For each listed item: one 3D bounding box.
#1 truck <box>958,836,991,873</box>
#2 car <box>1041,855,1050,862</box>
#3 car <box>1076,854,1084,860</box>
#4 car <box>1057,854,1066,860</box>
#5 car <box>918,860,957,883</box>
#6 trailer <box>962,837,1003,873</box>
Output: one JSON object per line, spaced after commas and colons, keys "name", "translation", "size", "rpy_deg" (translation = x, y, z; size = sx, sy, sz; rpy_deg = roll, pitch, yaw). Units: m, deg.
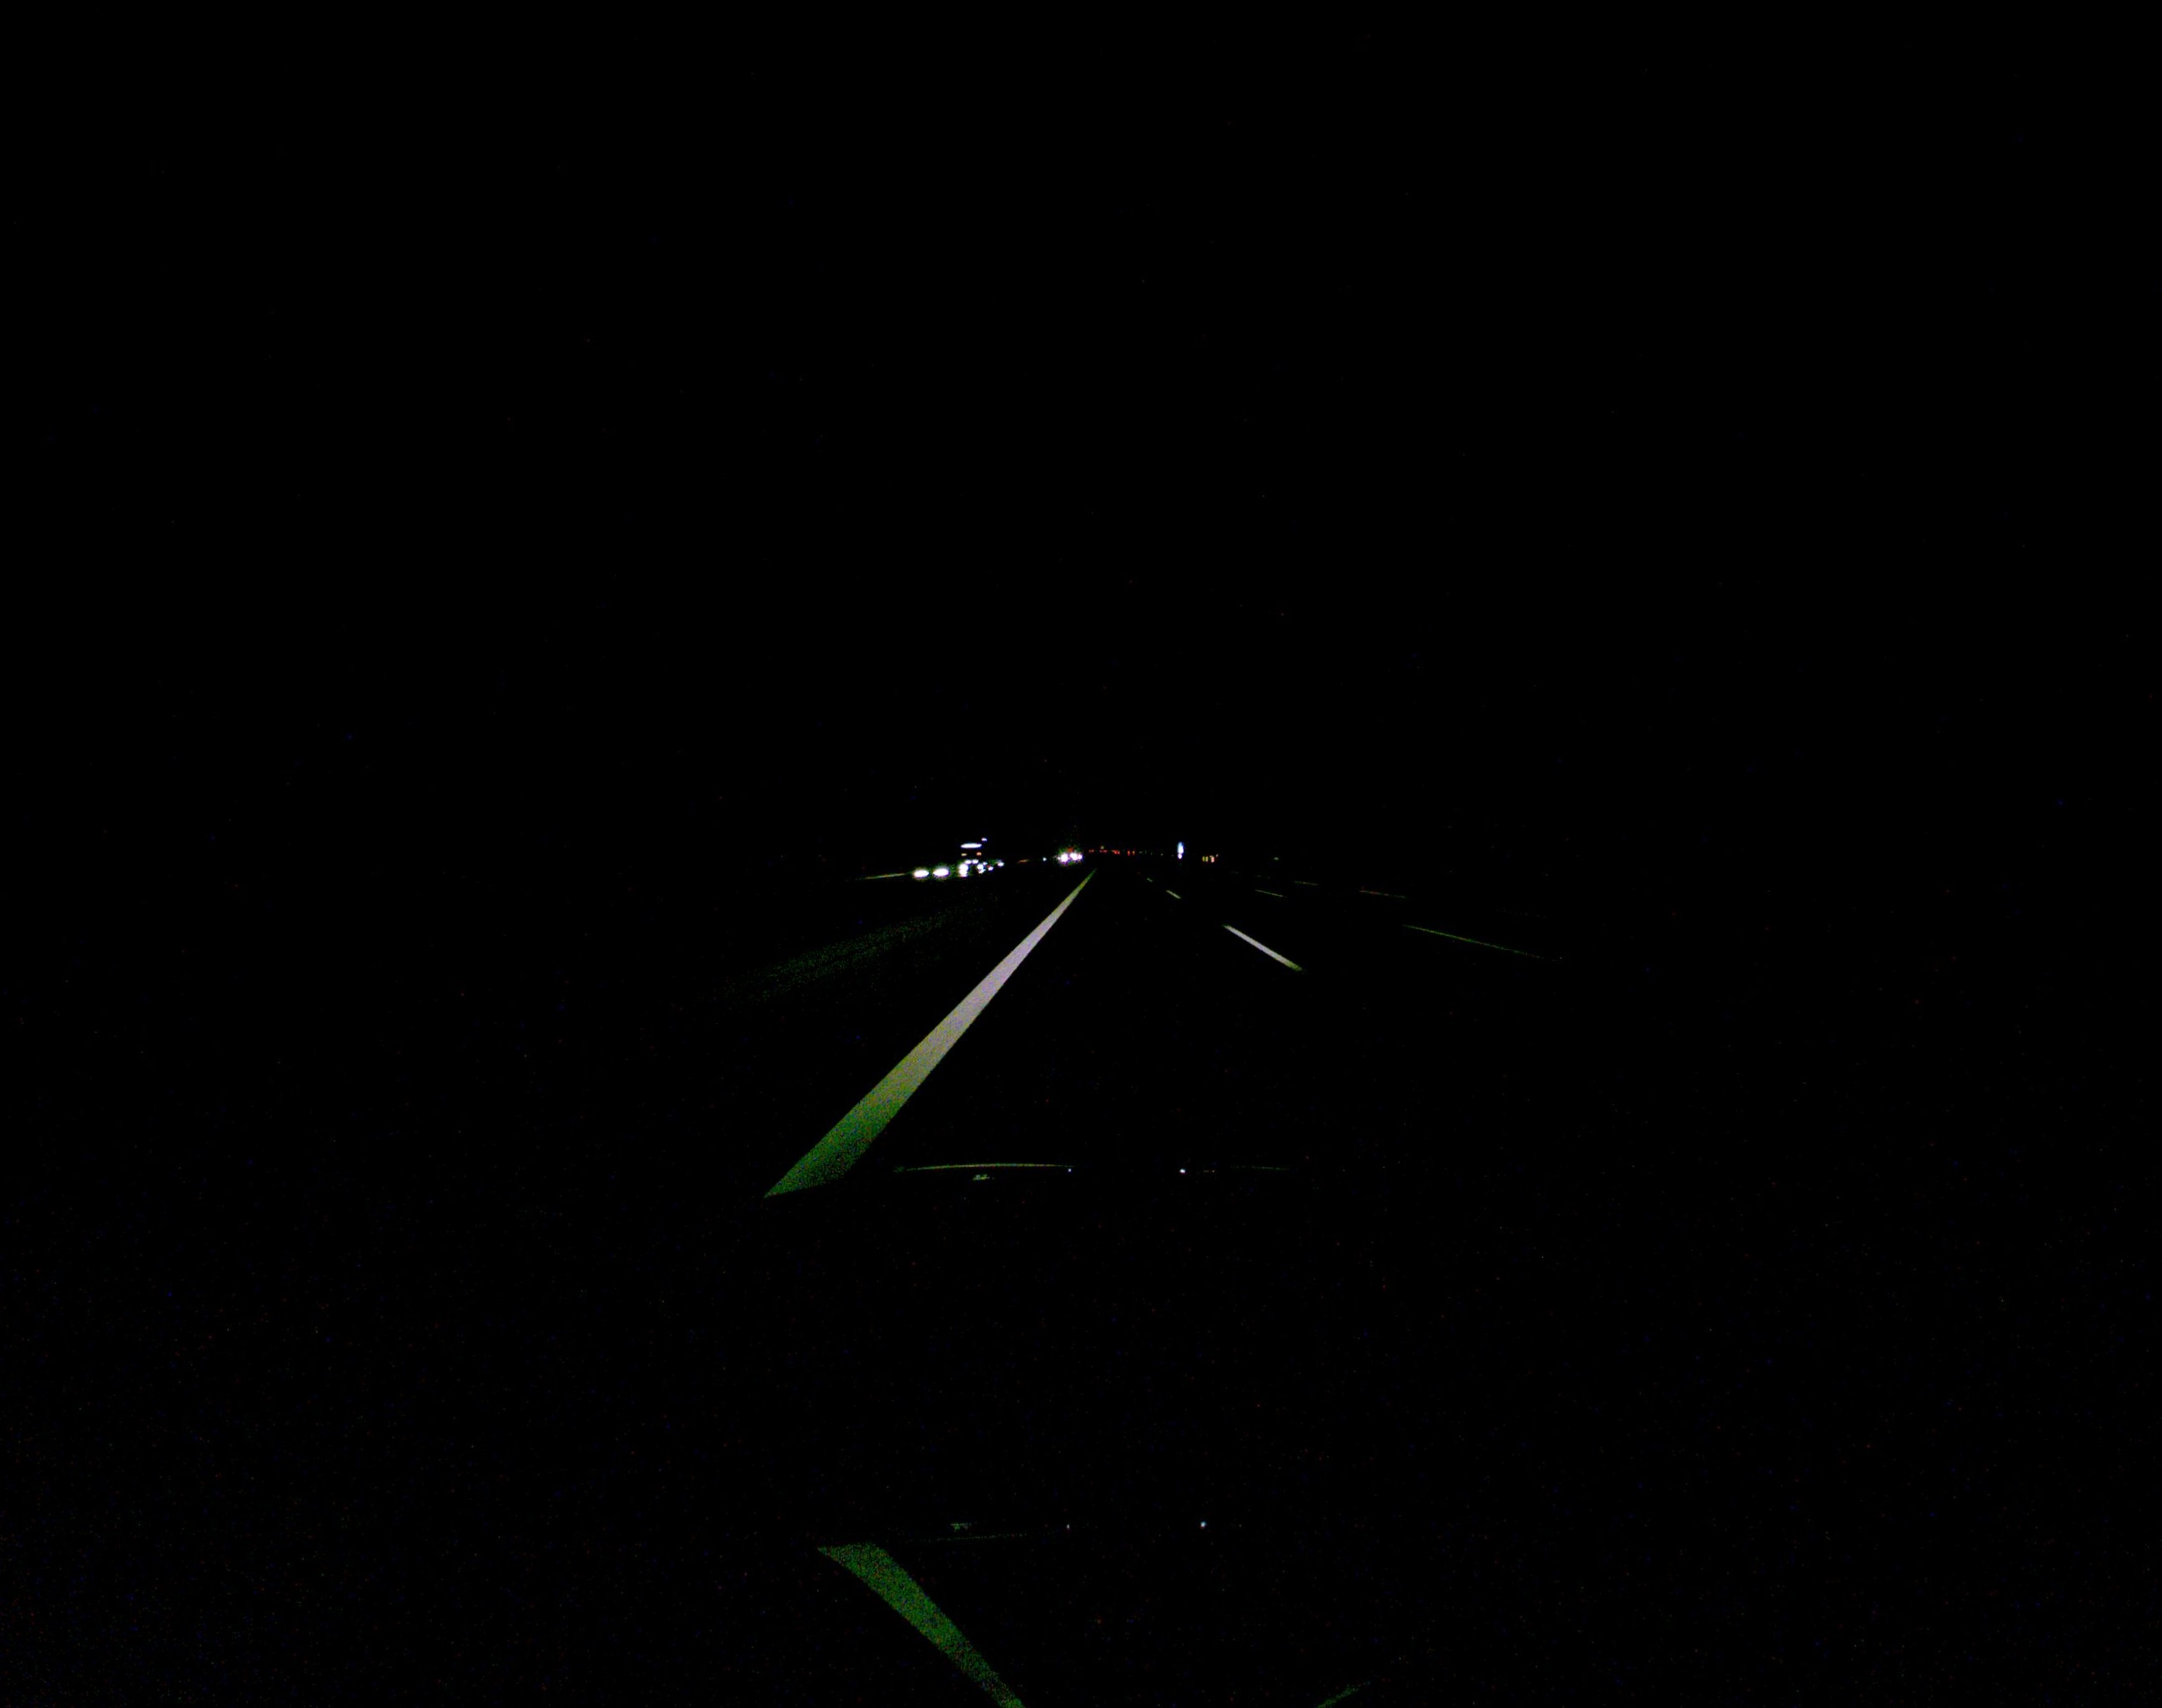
{"name": "truck", "translation": [-12.649, 0.060, 97.179], "size": [2.744, 4.212, 5.827], "rpy_deg": [-3, 0, 1]}
{"name": "car", "translation": [-9.082, 1.160, 208.313], "size": [1.986, 1.485, 4.803], "rpy_deg": [-3, 0, 2]}
{"name": "car", "translation": [-0.292, 0.780, 235.149], "size": [1.986, 1.461, 4.903], "rpy_deg": [-4, 0, 2]}
{"name": "car", "translation": [-5.198, 0.681, 212.625], "size": [1.986, 1.394, 5.708], "rpy_deg": [-4, 0, 1]}
{"name": "car", "translation": [-10.355, 1.247, 59.151], "size": [1.988, 1.461, 4.690], "rpy_deg": [-3, 0, -1]}
{"name": "trailer", "translation": [-12.436, 0.133, 104.273], "size": [2.849, 4.176, 13.909], "rpy_deg": [-4, 0, 2]}
